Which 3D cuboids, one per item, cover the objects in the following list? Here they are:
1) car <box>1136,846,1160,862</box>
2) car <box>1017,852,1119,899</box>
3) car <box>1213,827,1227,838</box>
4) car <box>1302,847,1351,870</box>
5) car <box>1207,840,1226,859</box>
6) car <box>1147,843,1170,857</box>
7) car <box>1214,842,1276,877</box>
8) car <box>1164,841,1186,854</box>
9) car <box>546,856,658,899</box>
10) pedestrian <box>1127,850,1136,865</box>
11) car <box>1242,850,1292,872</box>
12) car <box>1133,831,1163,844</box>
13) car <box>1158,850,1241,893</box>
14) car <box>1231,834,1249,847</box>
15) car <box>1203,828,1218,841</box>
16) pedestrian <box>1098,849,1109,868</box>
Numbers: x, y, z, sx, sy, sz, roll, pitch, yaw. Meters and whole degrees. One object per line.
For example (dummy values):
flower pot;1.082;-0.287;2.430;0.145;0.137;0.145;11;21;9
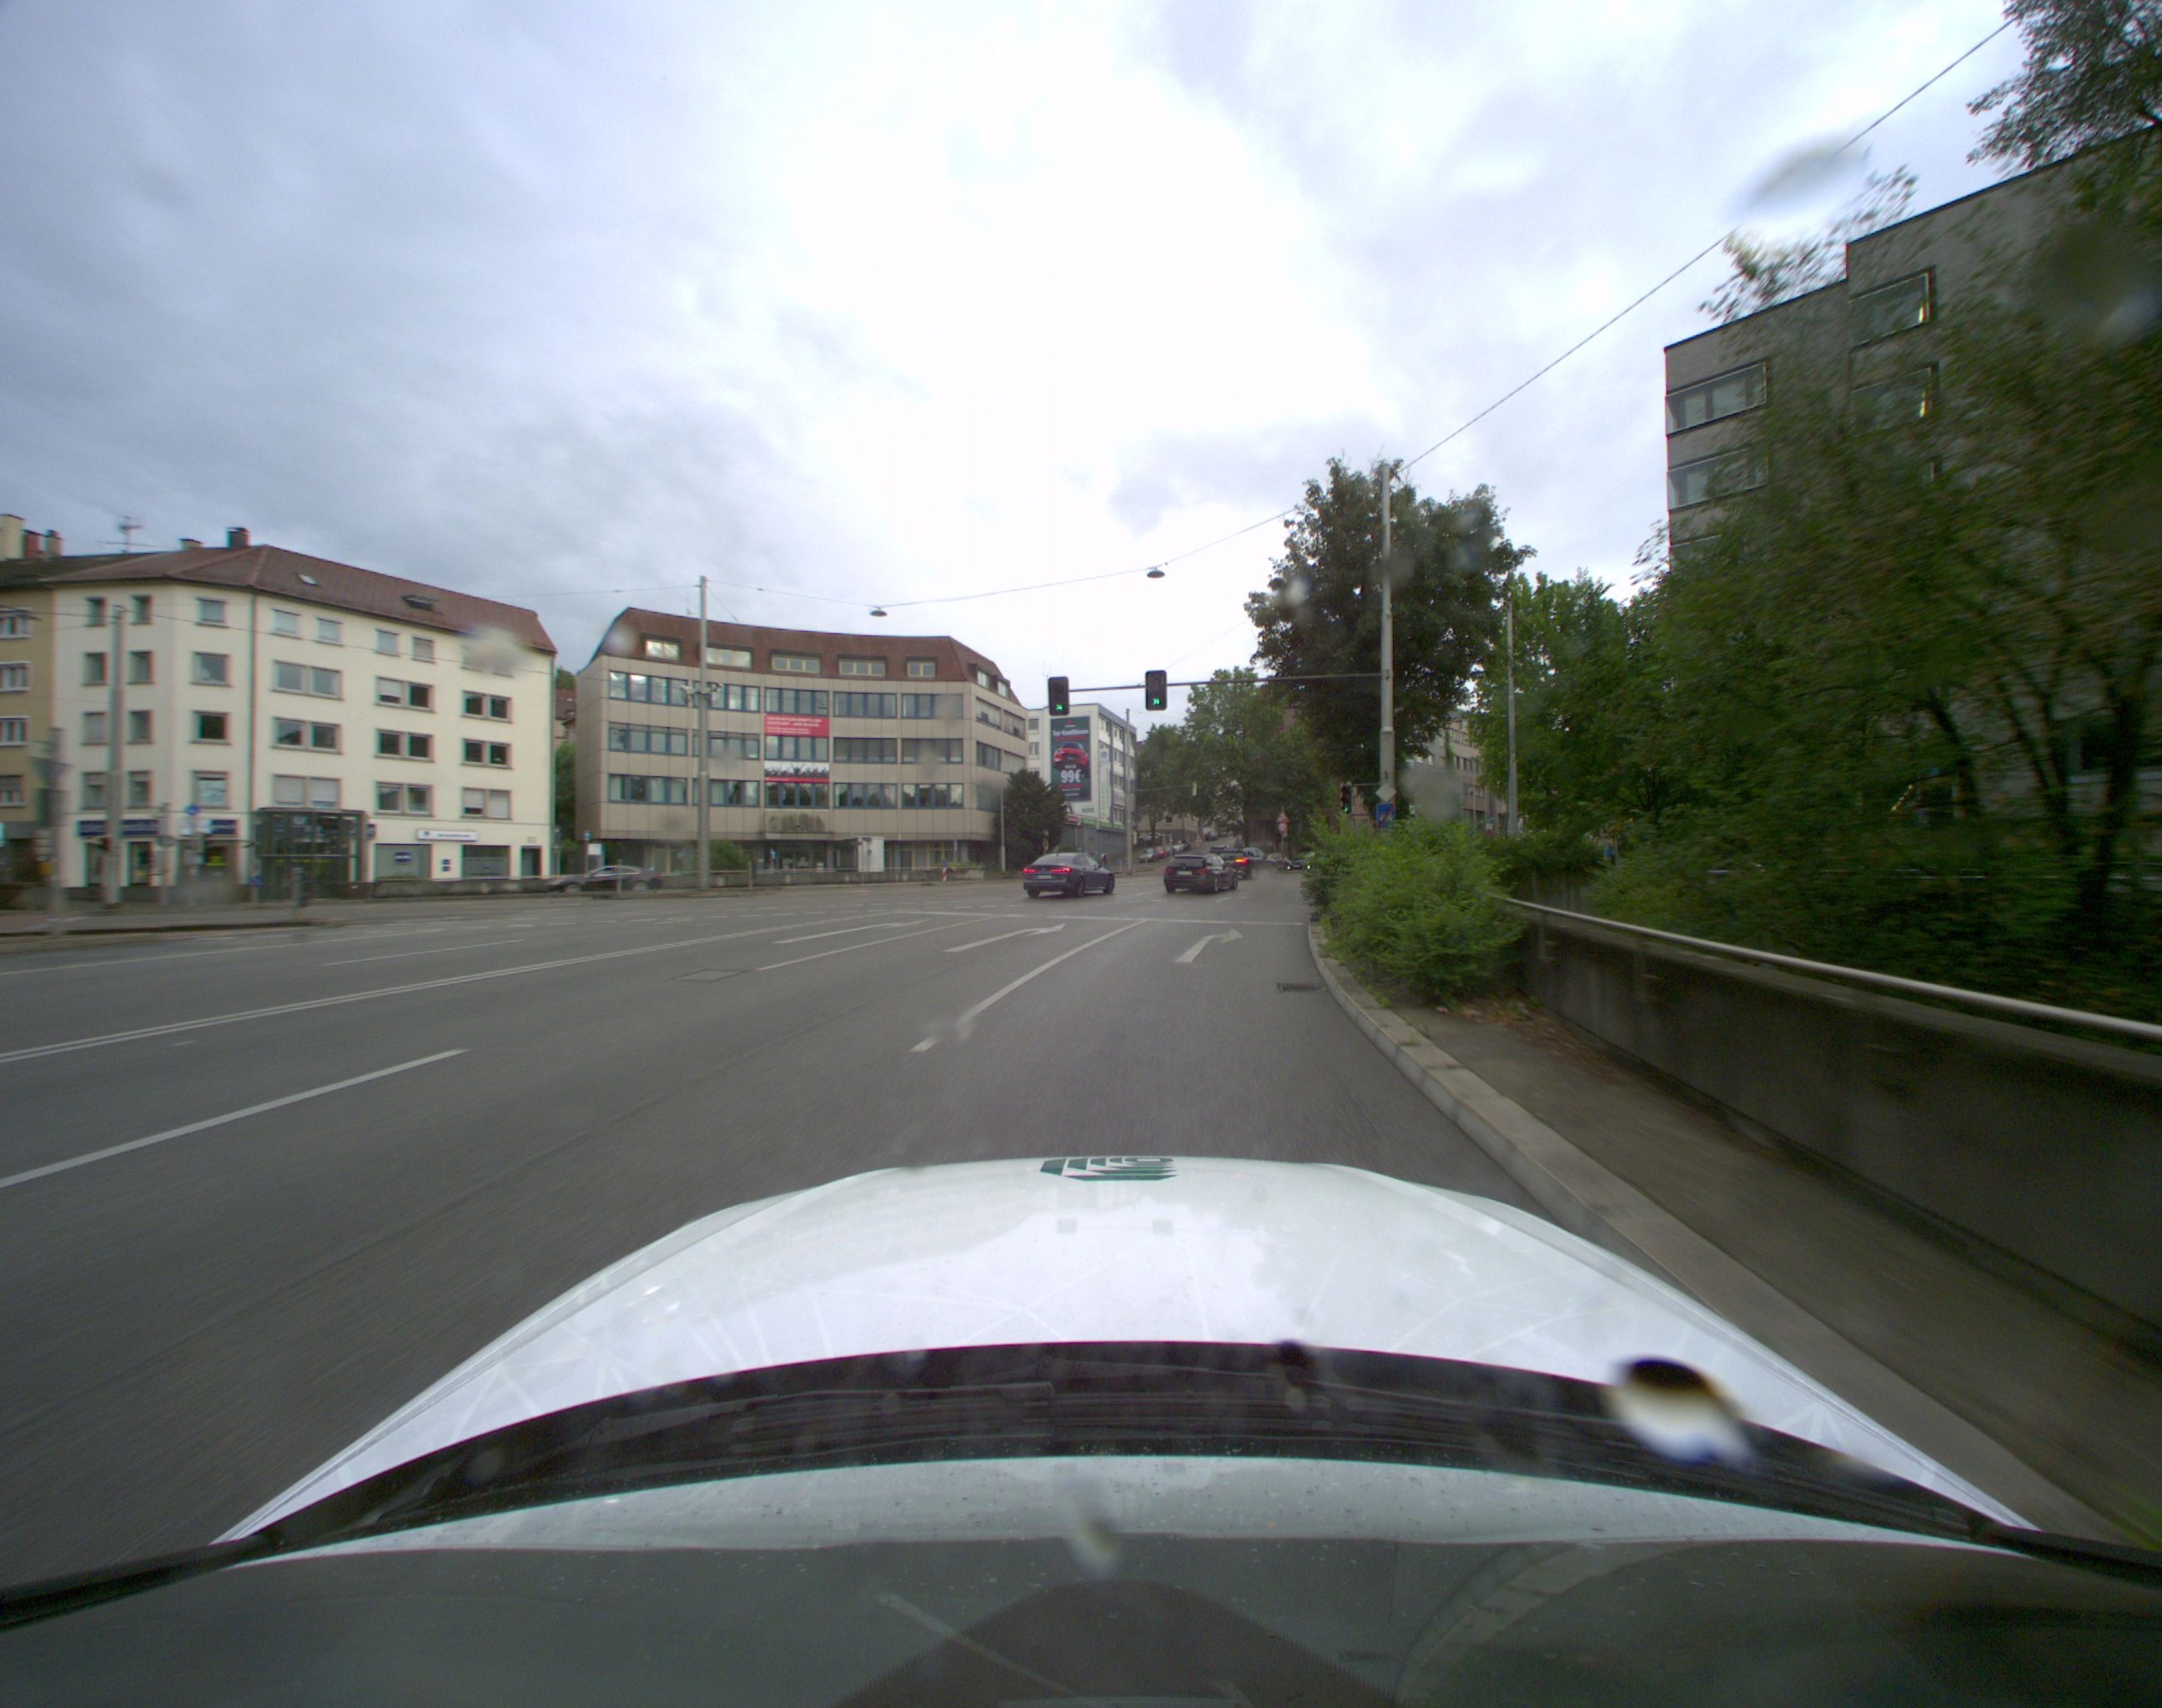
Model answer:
car;7.905;-0.005;95.368;1.818;1.463;4.198;-2;3;18
car;-0.323;0.635;27.017;1.775;1.426;4.408;0;0;22
car;25.946;-4.025;151.934;1.978;1.842;4.018;-2;3;16
car;18.567;0.337;61.513;1.835;1.622;4.621;-4;-2;39
car;15.198;-0.557;91.481;1.918;1.867;4.015;0;3;12
car;9.649;-0.470;100.835;1.817;1.430;4.092;-2;3;20
car;8.571;0.317;42.350;1.882;1.693;4.025;-2;-1;31
car;12.646;-0.921;109.576;1.816;1.430;4.094;-2;3;23
car;-22.555;1.081;38.455;4.456;1.843;1.979;-1;-2;-33
pedestrian;6.058;0.414;96.985;0.832;1.717;0.986;-2;-1;18
car;13.917;0.521;60.851;1.800;1.512;4.259;-2;-2;41
car;10.739;-2.624;130.518;4.386;2.006;2.007;-2;-1;13
car;4.424;0.585;29.806;1.775;1.426;4.639;0;0;24
car;22.262;-1.931;114.205;1.915;1.674;4.020;-2;3;18
car;22.092;-3.316;138.553;1.978;2.014;4.017;-2;-1;16
pedestrian;2.387;0.498;85.595;0.832;2.014;0.986;-2;-2;18
